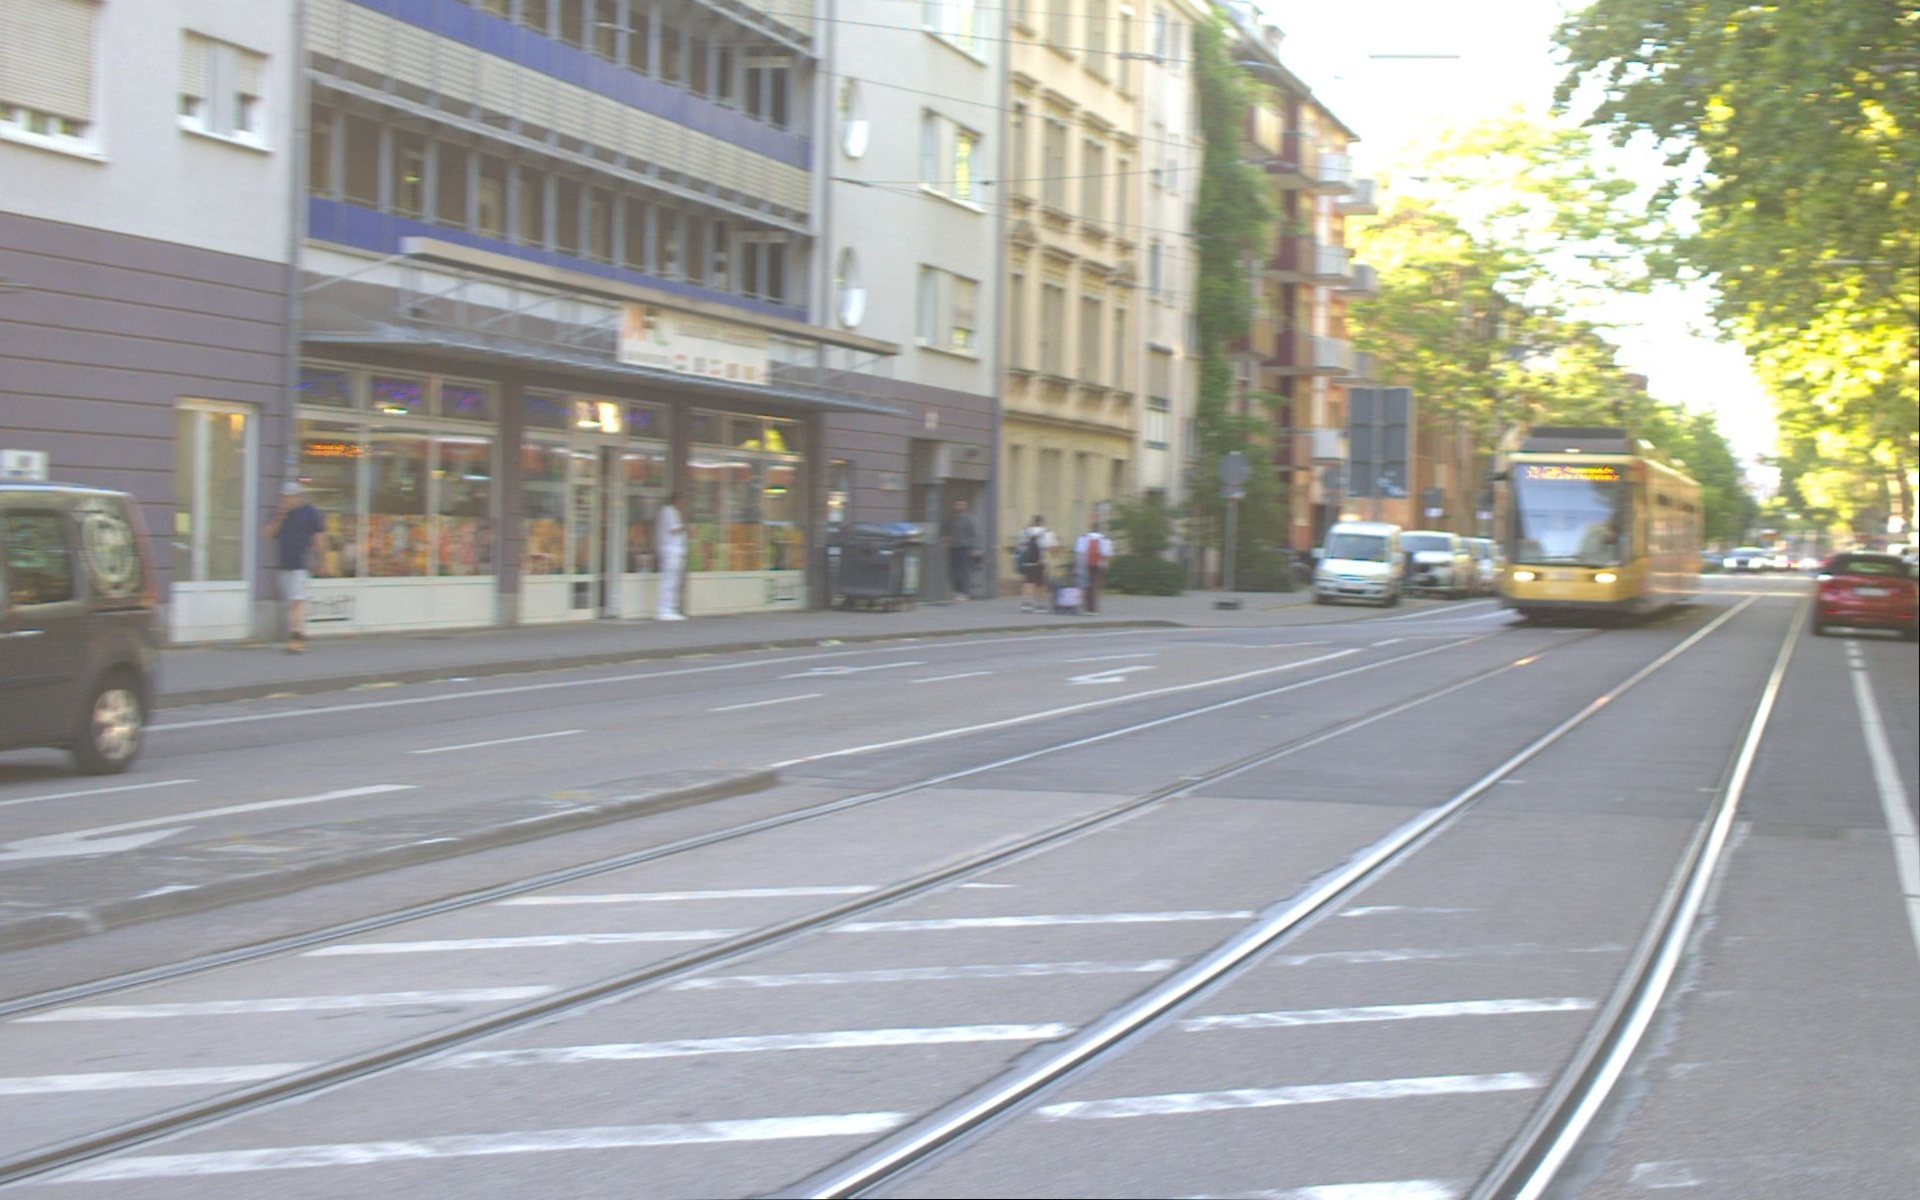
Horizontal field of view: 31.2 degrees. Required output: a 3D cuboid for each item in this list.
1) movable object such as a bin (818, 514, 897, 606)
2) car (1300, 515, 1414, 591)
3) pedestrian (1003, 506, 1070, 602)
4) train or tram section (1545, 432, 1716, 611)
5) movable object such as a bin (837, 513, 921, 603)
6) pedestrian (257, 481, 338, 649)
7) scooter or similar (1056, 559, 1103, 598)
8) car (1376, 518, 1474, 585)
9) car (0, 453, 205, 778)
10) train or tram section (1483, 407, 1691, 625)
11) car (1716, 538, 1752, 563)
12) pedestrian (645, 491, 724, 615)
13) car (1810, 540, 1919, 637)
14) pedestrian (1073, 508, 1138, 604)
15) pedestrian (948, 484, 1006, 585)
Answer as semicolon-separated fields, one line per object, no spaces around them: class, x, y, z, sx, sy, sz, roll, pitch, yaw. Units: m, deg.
movable object such as a bin;-1.623;-0.639;54.674;1.013;1.423;1.144;1;1;10
car;8.601;-1.030;74.200;1.895;1.559;4.390;1;1;14
pedestrian;1.319;-0.791;58.992;0.892;1.619;1.034;2;1;15
train or tram section;15.131;-1.732;76.871;2.834;3.625;12.808;2;1;15
movable object such as a bin;-1.314;-0.691;56.077;1.013;1.423;1.256;2;1;15
pedestrian;-6.574;-0.350;34.119;0.663;1.642;0.625;1;1;-1
scooter or similar;2.036;-0.365;58.406;0.625;0.646;0.765;2;1;15
car;11.436;-1.197;84.390;1.895;1.559;4.390;1;1;14
car;-6.230;0.063;19.325;1.911;1.800;4.358;2;1;18
train or tram section;11.906;-1.539;64.289;2.863;3.625;13.190;2;1;14
car;48.703;-3.134;216.381;1.994;1.504;3.998;1;1;10
pedestrian;-3.769;-0.646;47.101;1.029;1.657;1.228;1;1;-5
car;15.310;-0.184;57.834;1.895;1.559;4.389;0;0;15
pedestrian;2.507;-0.758;59.204;0.892;1.619;1.034;2;1;15
pedestrian;0.312;-1.228;64.060;0.892;1.858;0.789;1;1;-13
